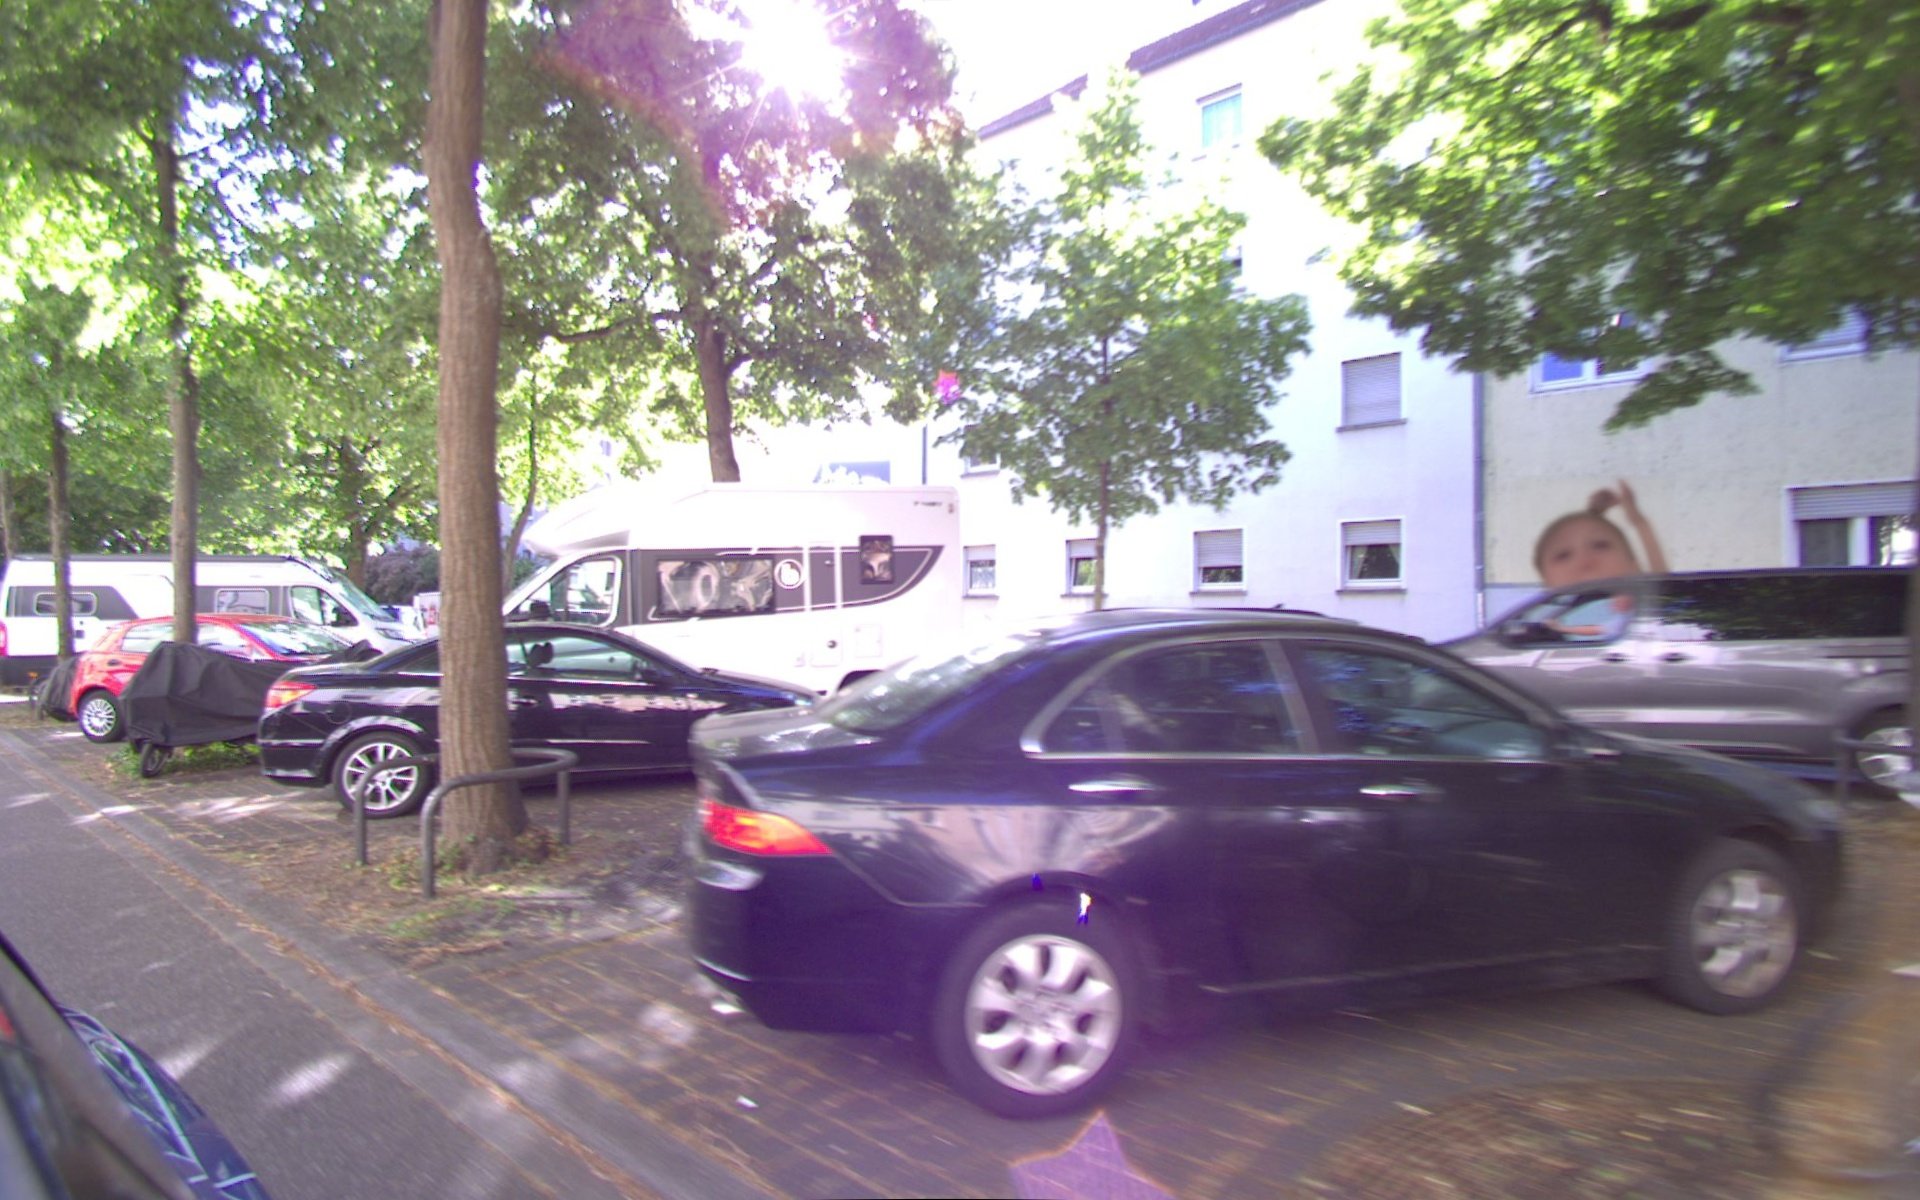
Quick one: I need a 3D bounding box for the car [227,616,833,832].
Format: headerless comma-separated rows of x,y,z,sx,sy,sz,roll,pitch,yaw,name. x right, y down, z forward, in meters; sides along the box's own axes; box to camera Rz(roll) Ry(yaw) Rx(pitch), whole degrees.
-3.205,0.856,8.201,4.086,1.436,1.720,0,-1,-17,car

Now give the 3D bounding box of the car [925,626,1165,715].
1.476,1.228,18.382,4.077,1.447,1.732,-2,-4,39,car

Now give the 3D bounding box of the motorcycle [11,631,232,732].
-12.181,1.135,14.799,0.966,1.345,2.301,-1,-2,32,motorcycle

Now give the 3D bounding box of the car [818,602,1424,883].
1.176,0.779,7.194,3.931,1.497,1.836,0,-1,-28,car

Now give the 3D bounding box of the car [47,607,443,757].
-8.519,0.923,12.202,3.837,1.630,1.658,0,-2,10,car

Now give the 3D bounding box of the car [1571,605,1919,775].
9.109,0.993,11.442,3.597,1.689,1.460,-2,-7,39,car

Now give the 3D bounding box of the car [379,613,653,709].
-7.404,0.997,17.314,4.067,1.497,1.839,1,-1,-15,car

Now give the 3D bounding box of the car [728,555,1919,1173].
1.203,0.690,3.701,3.953,1.485,1.630,1,-2,-13,car

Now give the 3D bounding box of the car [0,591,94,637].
-52.227,0.792,56.020,6.094,2.530,2.145,1,-2,-22,car

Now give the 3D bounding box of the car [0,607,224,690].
-19.170,1.071,22.612,4.030,1.537,1.707,-4,0,-18,car

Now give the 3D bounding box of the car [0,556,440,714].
-13.202,0.570,18.518,6.220,2.578,2.345,0,-1,-16,car

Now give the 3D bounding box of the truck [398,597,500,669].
-18.326,1.193,36.244,4.264,2.428,1.900,-2,-3,44,truck

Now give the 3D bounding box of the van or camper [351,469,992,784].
-2.996,0.206,11.337,6.197,2.846,2.415,-1,-1,-20,van or camper

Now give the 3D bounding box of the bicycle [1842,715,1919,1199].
2.581,0.834,1.628,0.422,1.139,1.683,0,-1,-33,bicycle

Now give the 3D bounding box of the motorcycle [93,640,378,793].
-6.808,1.030,9.597,2.120,1.239,0.883,0,-1,-40,motorcycle

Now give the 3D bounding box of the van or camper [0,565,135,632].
-42.820,-0.012,47.431,5.929,3.025,2.407,1,-2,-20,van or camper
